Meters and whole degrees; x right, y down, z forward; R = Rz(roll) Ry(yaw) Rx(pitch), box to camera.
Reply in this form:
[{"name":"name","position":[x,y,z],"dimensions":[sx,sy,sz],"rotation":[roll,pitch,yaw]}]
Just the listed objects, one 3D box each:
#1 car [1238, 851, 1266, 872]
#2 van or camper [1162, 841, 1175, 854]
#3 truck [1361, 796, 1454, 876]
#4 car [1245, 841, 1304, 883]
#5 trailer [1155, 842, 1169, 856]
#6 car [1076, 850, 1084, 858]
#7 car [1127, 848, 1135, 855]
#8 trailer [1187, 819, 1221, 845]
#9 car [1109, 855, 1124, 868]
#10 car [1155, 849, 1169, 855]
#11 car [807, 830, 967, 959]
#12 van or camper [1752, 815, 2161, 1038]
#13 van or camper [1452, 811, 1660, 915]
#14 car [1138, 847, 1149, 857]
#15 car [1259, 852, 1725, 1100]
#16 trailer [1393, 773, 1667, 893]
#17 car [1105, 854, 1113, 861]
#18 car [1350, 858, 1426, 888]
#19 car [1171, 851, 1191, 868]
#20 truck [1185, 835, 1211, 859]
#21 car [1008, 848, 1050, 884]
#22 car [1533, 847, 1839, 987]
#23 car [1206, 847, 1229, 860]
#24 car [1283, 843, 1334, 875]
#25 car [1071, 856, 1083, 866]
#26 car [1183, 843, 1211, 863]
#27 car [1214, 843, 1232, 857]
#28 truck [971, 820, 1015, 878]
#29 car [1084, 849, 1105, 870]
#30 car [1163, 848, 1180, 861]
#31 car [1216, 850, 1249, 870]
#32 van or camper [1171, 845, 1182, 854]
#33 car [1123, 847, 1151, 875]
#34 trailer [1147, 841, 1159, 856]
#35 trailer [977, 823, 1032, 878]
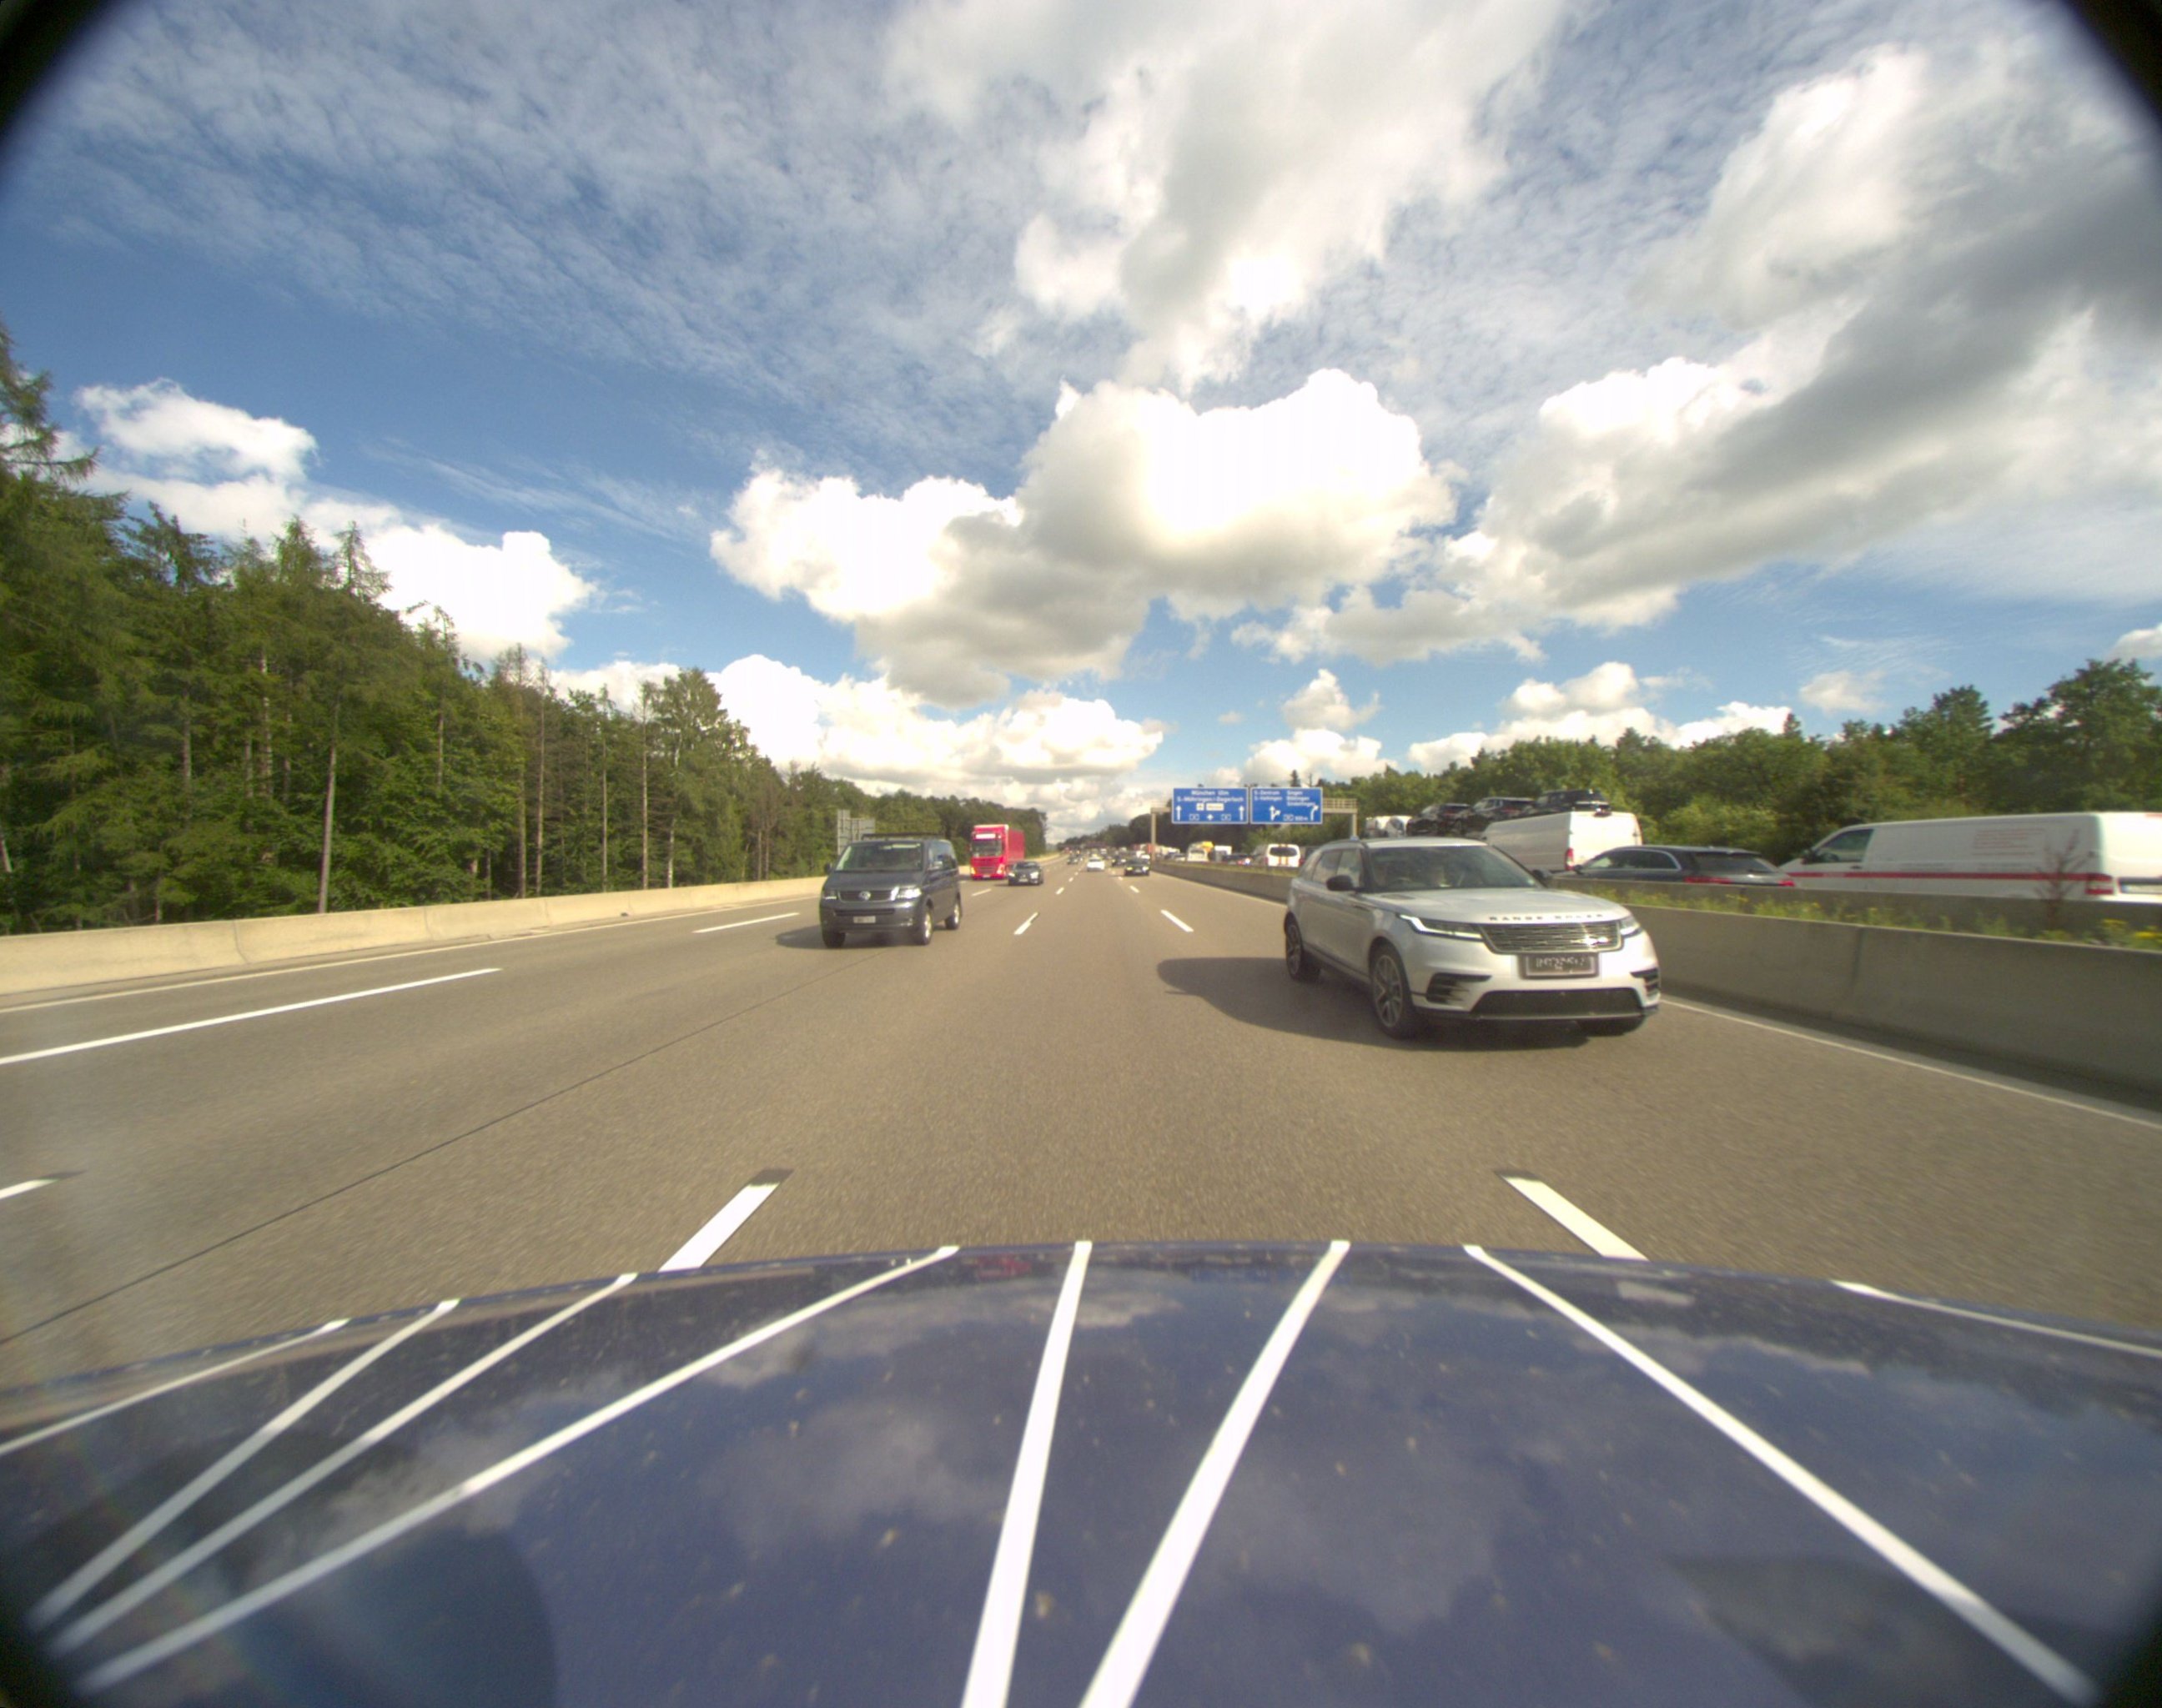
[{"name":"car","position":[15.895,0.703,70.750],"dimensions":[1.804,1.865,3.950],"rotation":[-1,1,1]},{"name":"van or camper","position":[21.612,-1.564,187.947],"dimensions":[2.476,2.873,7.480],"rotation":[-2,2,1]},{"name":"truck","position":[18.629,-0.987,43.790],"dimensions":[2.860,4.209,5.713],"rotation":[-2,0,1]},{"name":"car","position":[10.519,0.365,41.759],"dimensions":[1.998,2.088,5.277],"rotation":[-2,1,2]},{"name":"trailer","position":[22.152,-1.278,208.743],"dimensions":[2.895,3.637,10.220],"rotation":[-3,0,1]},{"name":"car","position":[-0.328,-0.108,179.984],"dimensions":[1.804,1.865,3.950],"rotation":[-1,0,1]},{"name":"car","position":[13.517,-0.778,204.539],"dimensions":[1.821,1.754,4.629],"rotation":[-1,1,1]},{"name":"trailer","position":[19.507,-3.414,121.267],"dimensions":[3.420,3.806,13.260],"rotation":[-2,0,1]},{"name":"car","position":[4.936,0.979,105.264],"dimensions":[1.911,1.582,4.287],"rotation":[-2,1,1]},{"name":"car","position":[12.740,-0.353,119.491],"dimensions":[1.671,0.922,5.463],"rotation":[-2,0,1]},{"name":"car","position":[-3.662,0.690,15.398],"dimensions":[1.927,2.153,4.960],"rotation":[-1,0,0]},{"name":"van or camper","position":[14.191,0.801,12.081],"dimensions":[2.050,2.695,5.750],"rotation":[-2,1,2]},{"name":"van or camper","position":[14.243,0.162,23.490],"dimensions":[2.397,2.695,6.630],"rotation":[-2,1,2]},{"name":"car","position":[13.171,-0.344,160.118],"dimensions":[1.836,2.050,5.500],"rotation":[0,1,1]},{"name":"car","position":[3.356,0.812,7.635],"dimensions":[1.905,1.597,5.105],"rotation":[-2,0,0]},{"name":"trailer","position":[18.494,-0.753,33.722],"dimensions":[2.837,3.952,16.005],"rotation":[-2,0,1]},{"name":"car","position":[6.916,0.831,188.268],"dimensions":[1.804,1.783,3.758],"rotation":[-1,0,1]},{"name":"car","position":[14.632,0.863,36.526],"dimensions":[1.836,1.223,4.566],"rotation":[-2,1,1]},{"name":"car","position":[11.629,0.618,88.517],"dimensions":[1.804,1.865,3.950],"rotation":[-1,1,1]},{"name":"truck","position":[19.811,-1.106,129.087],"dimensions":[3.425,3.877,6.802],"rotation":[-3,0,1]},{"name":"car","position":[-3.034,0.662,44.765],"dimensions":[1.998,2.002,4.000],"rotation":[2,0,2]},{"name":"car","position":[10.292,0.924,13.495],"dimensions":[1.998,2.002,4.409],"rotation":[-1,1,2]},{"name":"car","position":[15.904,-0.086,88.607],"dimensions":[1.792,1.441,5.376],"rotation":[-2,0,1]},{"name":"car","position":[14.353,0.298,48.152],"dimensions":[1.916,1.865,4.697],"rotation":[-1,0,1]},{"name":"car","position":[-0.762,1.217,137.234],"dimensions":[1.911,1.582,4.286],"rotation":[-2,1,-1]},{"name":"car","position":[11.130,-0.086,73.349],"dimensions":[2.091,1.791,4.179],"rotation":[-3,0,1]},{"name":"car","position":[19.832,-0.614,106.386],"dimensions":[1.804,1.865,3.950],"rotation":[-1,1,1]},{"name":"truck","position":[-6.540,-0.386,57.223],"dimensions":[2.532,4.178,4.653],"rotation":[-1,1,2]},{"name":"car","position":[1.392,0.530,77.611],"dimensions":[1.998,2.002,4.000],"rotation":[-2,0,2]},{"name":"car","position":[12.446,0.058,104.551],"dimensions":[1.771,1.788,4.938],"rotation":[-2,0,1]},{"name":"car","position":[10.890,0.441,54.999],"dimensions":[1.699,1.364,4.000],"rotation":[-1,0,2]},{"name":"van or camper","position":[21.206,-0.998,168.525],"dimensions":[2.288,2.000,4.690],"rotation":[-2,1,8]},{"name":"car","position":[4.326,0.559,58.834],"dimensions":[1.919,2.001,4.001],"rotation":[-3,-1,2]},{"name":"trailer","position":[21.885,-1.873,231.325],"dimensions":[2.645,4.295,13.175],"rotation":[-2,1,1]},{"name":"trailer","position":[-6.243,-0.334,64.310],"dimensions":[2.530,4.096,14.377],"rotation":[-1,1,2]}]
